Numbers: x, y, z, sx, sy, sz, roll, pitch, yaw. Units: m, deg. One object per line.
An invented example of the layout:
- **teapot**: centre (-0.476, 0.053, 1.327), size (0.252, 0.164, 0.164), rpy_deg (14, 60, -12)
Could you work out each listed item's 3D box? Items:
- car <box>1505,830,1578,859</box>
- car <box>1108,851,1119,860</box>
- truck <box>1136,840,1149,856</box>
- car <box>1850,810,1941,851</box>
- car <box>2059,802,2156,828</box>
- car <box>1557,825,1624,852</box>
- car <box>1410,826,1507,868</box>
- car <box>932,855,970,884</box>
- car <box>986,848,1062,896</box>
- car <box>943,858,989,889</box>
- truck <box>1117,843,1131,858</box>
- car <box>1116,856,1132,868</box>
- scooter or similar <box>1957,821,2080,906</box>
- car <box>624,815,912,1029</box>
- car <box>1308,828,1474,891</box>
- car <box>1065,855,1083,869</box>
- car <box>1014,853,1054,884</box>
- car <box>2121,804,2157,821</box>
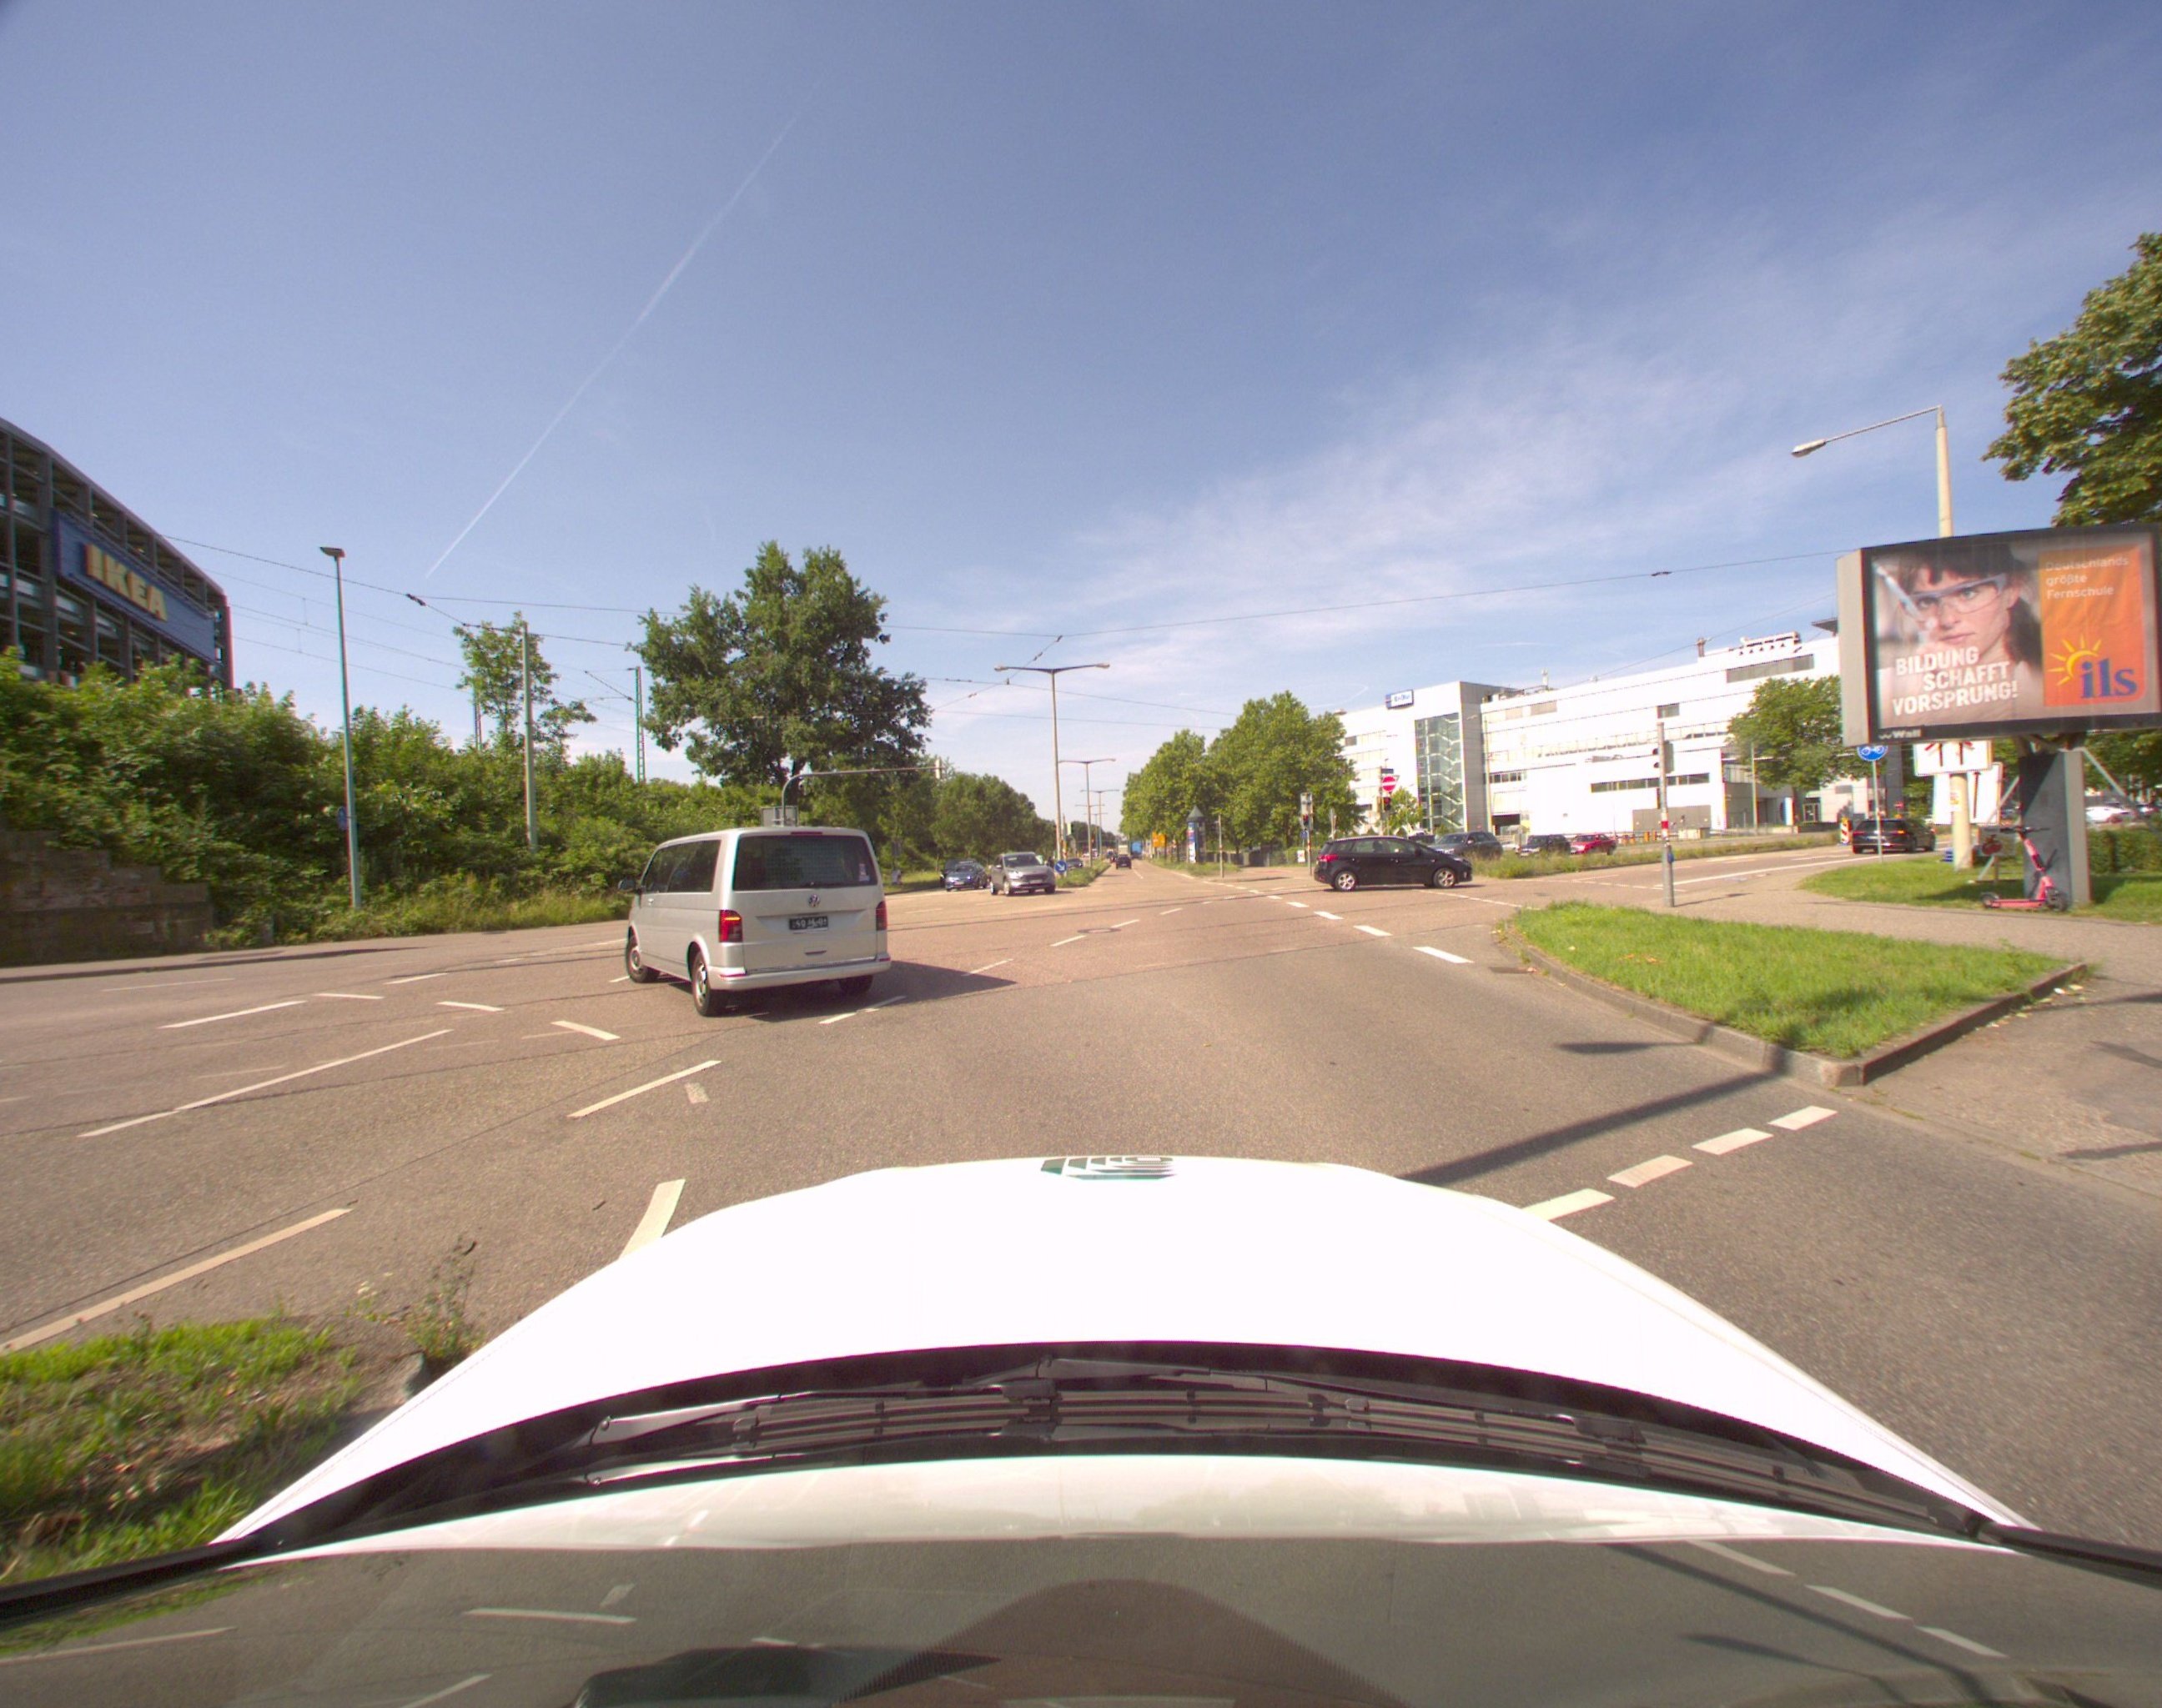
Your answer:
- **car**: centre (26.870, -0.557, 47.480), size (4.645, 1.444, 1.763), rpy_deg (-3, 0, -34)
- **car**: centre (5.624, 0.252, 140.990), size (1.741, 1.344, 4.382), rpy_deg (-3, 0, 3)
- **truck**: centre (17.934, -1.609, 237.303), size (3.175, 4.355, 13.168), rpy_deg (-3, 0, 6)
- **car**: centre (33.758, -0.979, 33.725), size (4.412, 1.510, 1.831), rpy_deg (-3, 0, -34)
- **car**: centre (79.116, -2.993, 62.832), size (1.924, 1.689, 4.575), rpy_deg (-3, 0, -36)
- **car**: centre (31.626, -0.963, 50.552), size (4.645, 1.444, 1.763), rpy_deg (-3, 0, -34)
- **car**: centre (17.561, -0.340, 37.794), size (4.645, 1.689, 1.895), rpy_deg (-3, 0, -34)
- **car**: centre (-8.804, 1.032, 55.545), size (1.843, 1.814, 4.000), rpy_deg (-3, 0, 0)
- **car**: centre (-2.340, 0.697, 32.105), size (1.995, 1.650, 4.630), rpy_deg (-3, 0, -16)
- **car**: centre (-6.281, 1.035, 44.730), size (1.843, 1.561, 4.000), rpy_deg (-3, 0, 0)
- **truck**: centre (10.714, -0.872, 201.715), size (2.827, 3.577, 8.734), rpy_deg (-3, 0, 6)
- **car**: centre (4.773, 0.913, 90.729), size (1.636, 1.236, 3.255), rpy_deg (-3, 0, 3)
- **scooter or similar**: centre (13.242, 0.123, 11.542), size (0.423, 1.126, 1.124), rpy_deg (-3, 0, 2)
- **car**: centre (-4.119, 0.655, 10.085), size (1.957, 1.971, 4.965), rpy_deg (-2, 0, -37)
- **car**: centre (9.094, 0.167, 24.222), size (4.335, 1.605, 1.820), rpy_deg (-3, 0, 12)
- **car**: centre (-0.759, 0.828, 89.663), size (1.708, 1.378, 4.475), rpy_deg (-4, 0, 2)
- **car**: centre (-2.773, 0.835, 49.336), size (1.902, 1.689, 4.629), rpy_deg (-3, 0, 2)
- **car**: centre (105.252, -4.168, 80.990), size (4.360, 1.510, 1.832), rpy_deg (-3, 0, -33)
